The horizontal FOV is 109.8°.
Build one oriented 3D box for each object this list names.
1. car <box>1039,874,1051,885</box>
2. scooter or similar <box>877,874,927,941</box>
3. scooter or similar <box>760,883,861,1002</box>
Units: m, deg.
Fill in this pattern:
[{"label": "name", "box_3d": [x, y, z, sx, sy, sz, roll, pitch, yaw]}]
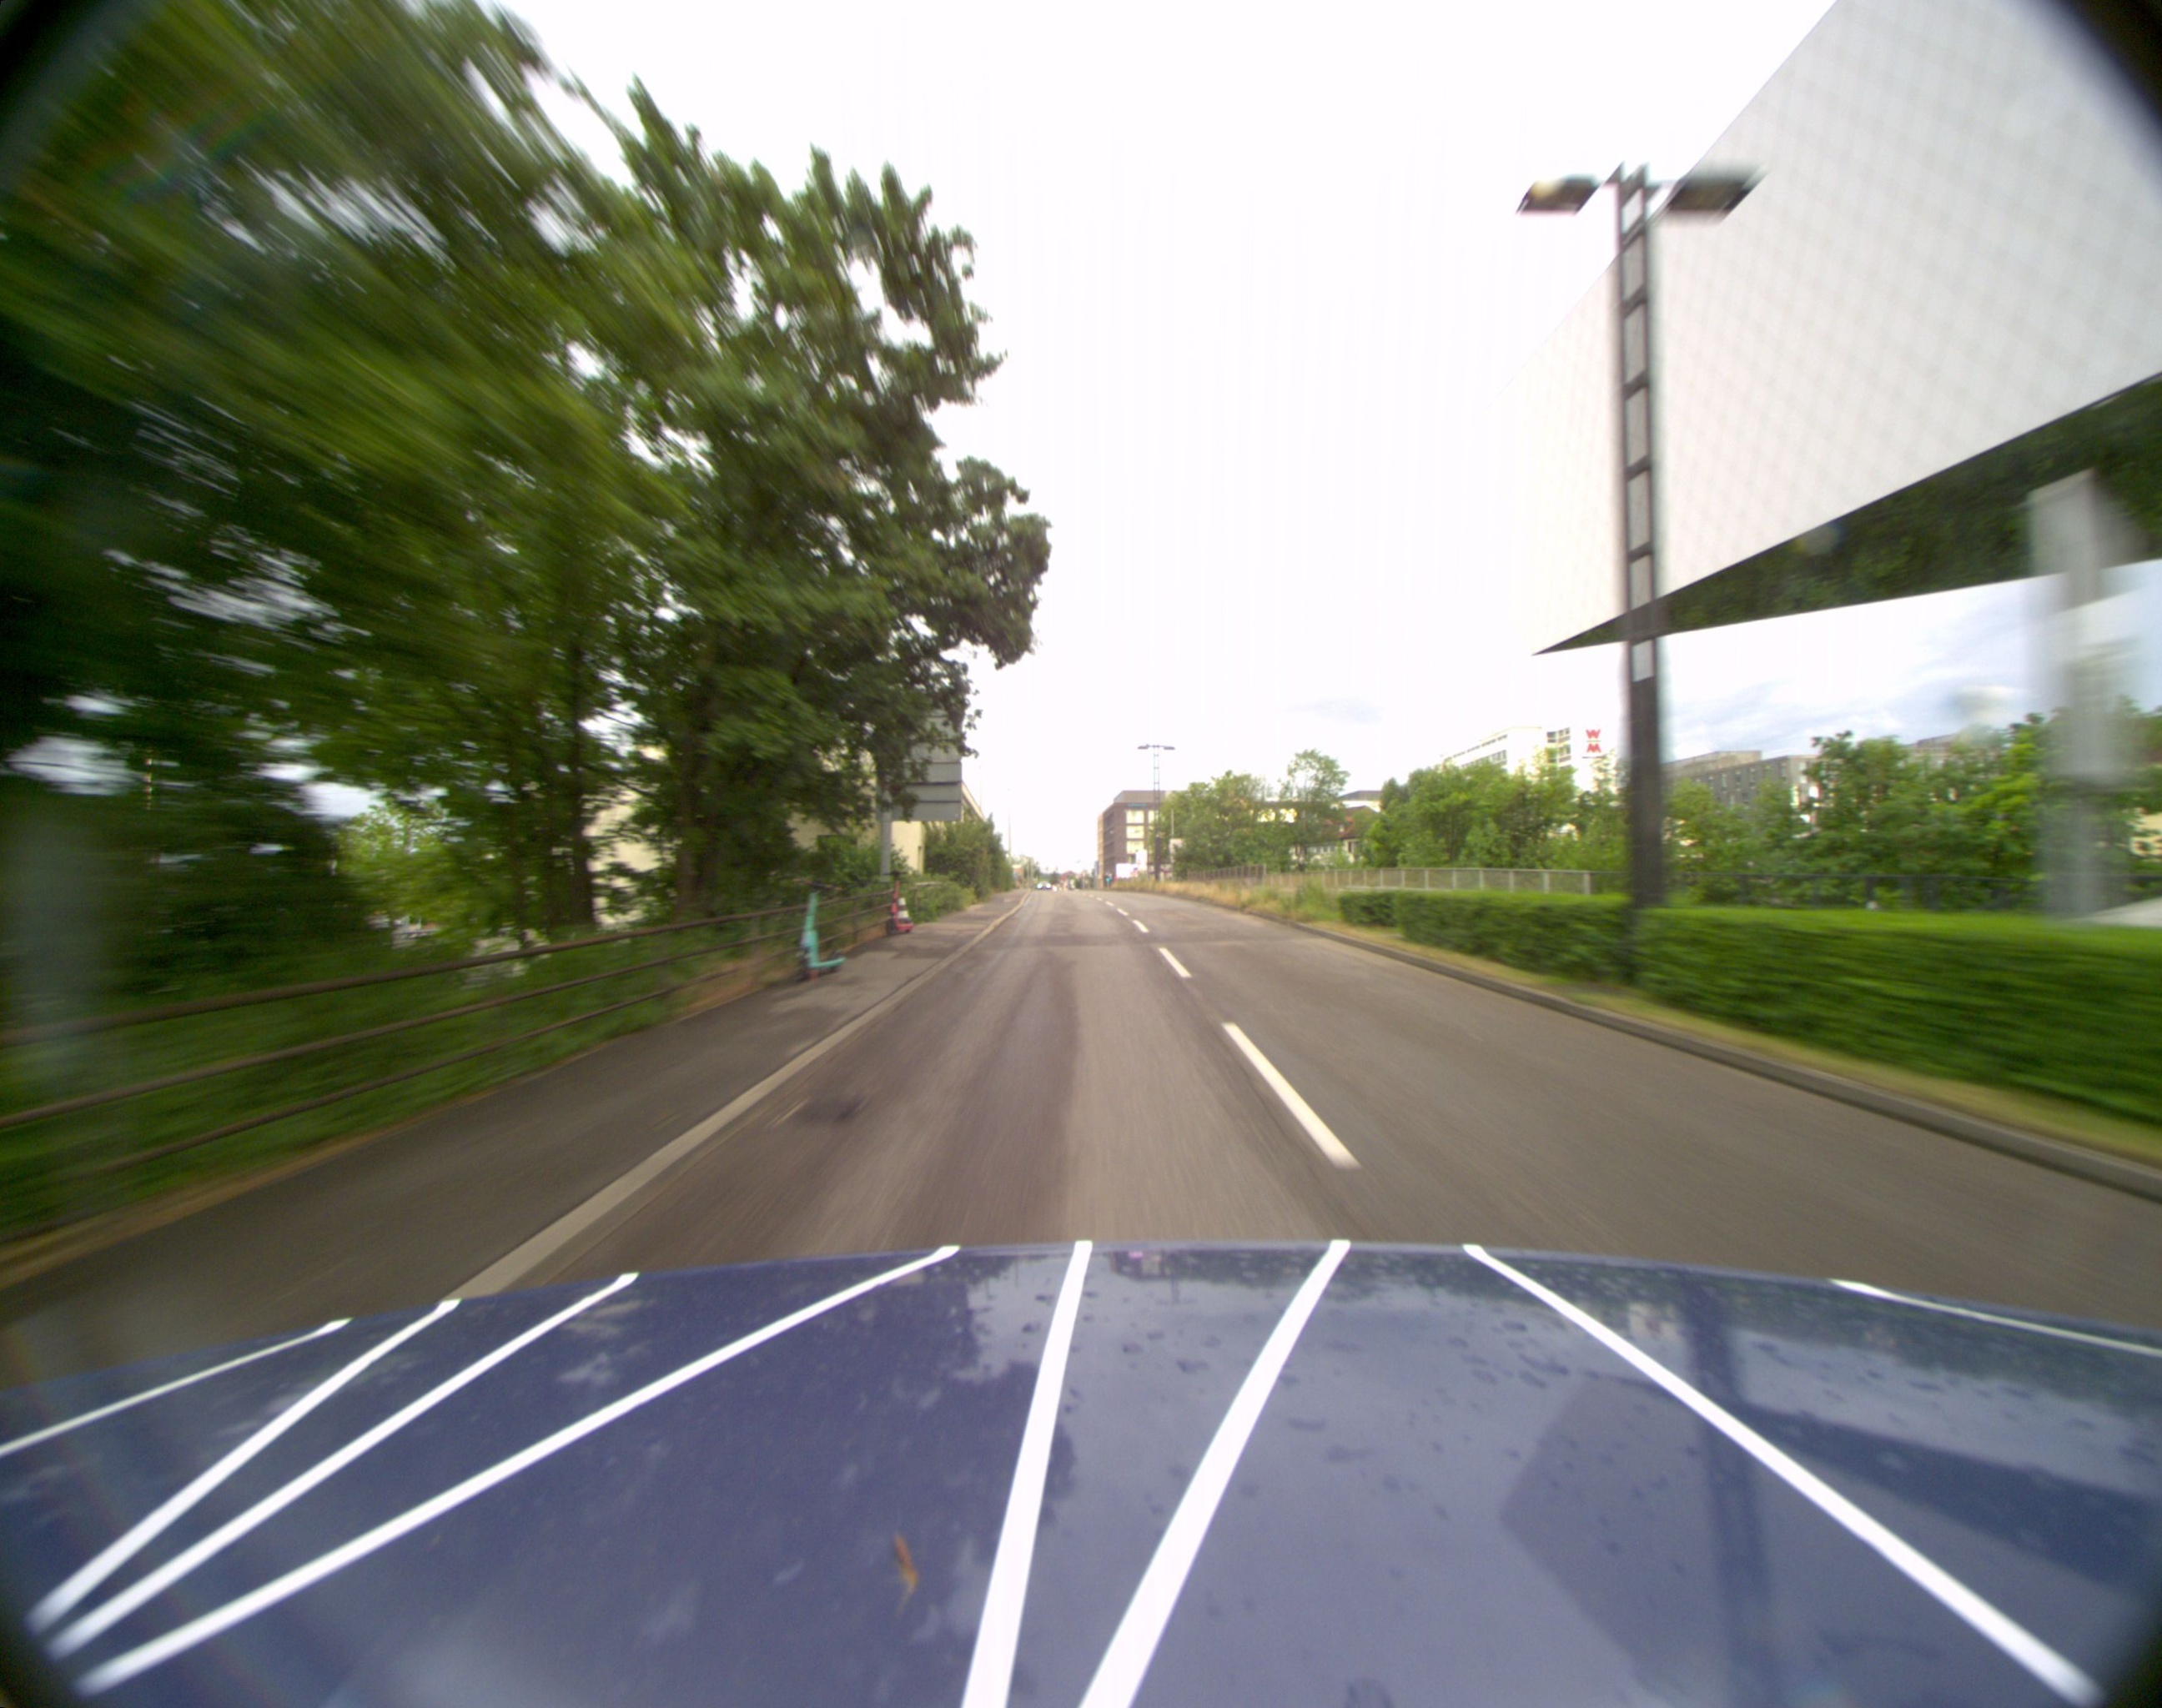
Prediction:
[{"label": "car", "box_3d": [-5.889, 4.204, 125.261, 1.841, 1.574, 4.289, -1, 0, -1]}, {"label": "scooter or similar", "box_3d": [-3.463, 1.011, 14.785, 0.574, 1.201, 1.468, -1, 0, 1]}, {"label": "scooter or similar", "box_3d": [-3.246, 1.009, 9.294, 0.539, 1.225, 1.844, -1, 0, 1]}]
